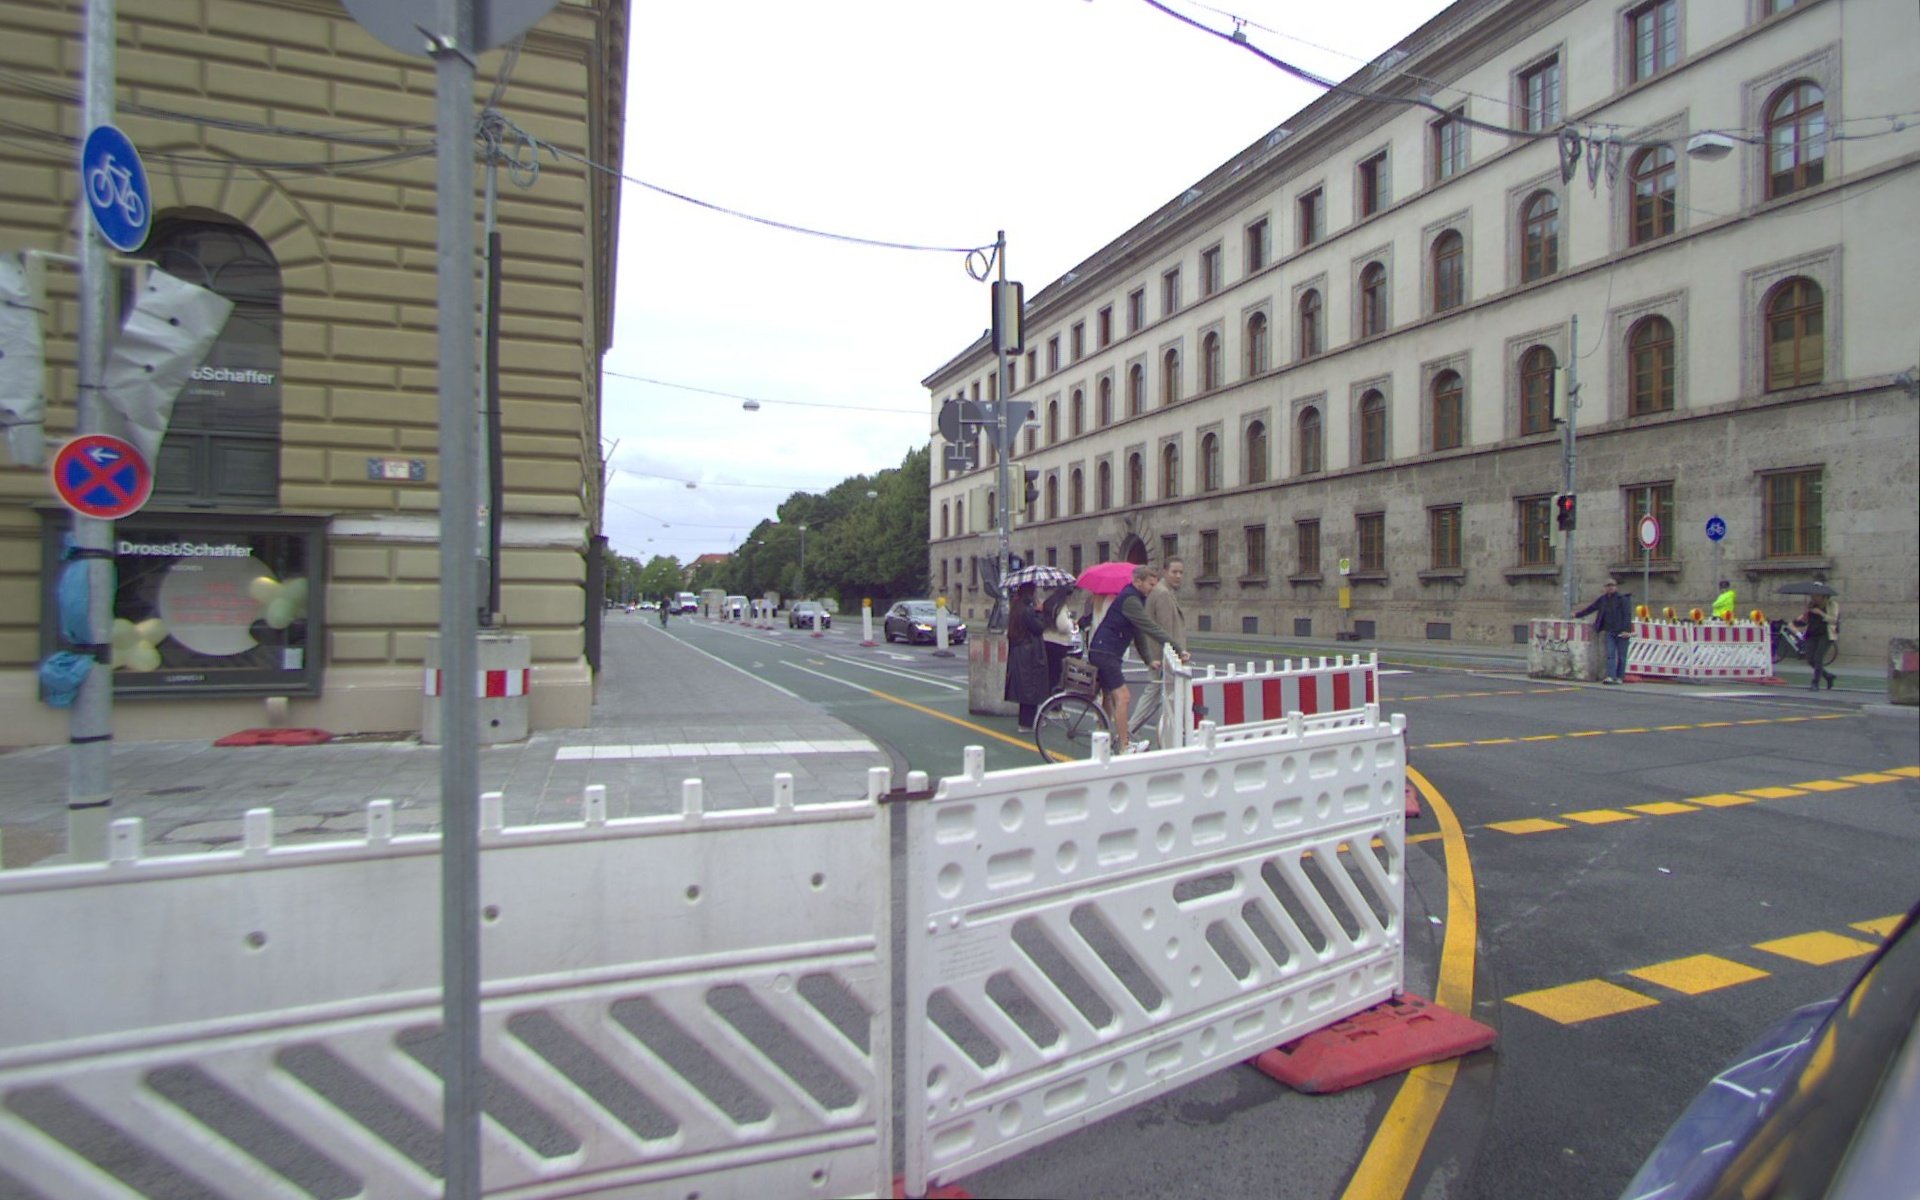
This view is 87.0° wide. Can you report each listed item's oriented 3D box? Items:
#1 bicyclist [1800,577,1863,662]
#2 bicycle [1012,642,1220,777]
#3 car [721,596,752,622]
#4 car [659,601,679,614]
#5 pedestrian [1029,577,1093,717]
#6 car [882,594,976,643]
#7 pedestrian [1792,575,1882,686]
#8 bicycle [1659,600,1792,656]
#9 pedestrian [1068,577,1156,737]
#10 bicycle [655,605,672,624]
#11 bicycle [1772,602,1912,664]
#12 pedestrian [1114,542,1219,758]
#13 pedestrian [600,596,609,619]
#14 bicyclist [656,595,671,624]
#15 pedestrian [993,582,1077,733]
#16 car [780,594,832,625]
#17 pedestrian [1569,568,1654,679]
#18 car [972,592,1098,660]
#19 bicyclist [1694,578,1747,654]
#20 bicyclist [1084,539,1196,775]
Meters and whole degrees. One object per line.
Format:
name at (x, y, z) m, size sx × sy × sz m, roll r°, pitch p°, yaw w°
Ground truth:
bicyclist at (19.012, 0.410, 22.076) m, size 0.784 × 1.798 × 0.690 m, roll -1°, pitch 0°, yaw -16°
bicycle at (1.309, 0.885, 8.537) m, size 1.637 × 1.024 × 0.582 m, roll -1°, pitch 0°, yaw 23°
car at (-18.215, 0.702, 82.323) m, size 1.958 × 2.039 × 4.008 m, roll 0°, pitch 0°, yaw -19°
car at (-30.664, 0.792, 106.539) m, size 1.704 × 1.337 × 4.008 m, roll -1°, pitch 0°, yaw -20°
pedestrian at (1.232, 0.555, 12.380) m, size 0.522 × 1.640 × 0.675 m, roll -1°, pitch 0°, yaw -17°
car at (-1.123, 0.582, 34.006) m, size 1.883 × 1.459 × 4.315 m, roll -2°, pitch 1°, yaw -20°
pedestrian at (14.670, 0.502, 16.947) m, size 0.829 × 1.794 × 0.740 m, roll -1°, pitch 0°, yaw -10°
bicycle at (18.233, 0.640, 24.192) m, size 0.773 × 1.258 × 2.453 m, roll -1°, pitch 0°, yaw -24°
pedestrian at (1.567, 0.568, 10.479) m, size 0.690 × 1.587 × 0.542 m, roll -1°, pitch 0°, yaw -17°
bicycle at (-16.500, 0.800, 56.354) m, size 0.735 × 1.045 × 2.536 m, roll -1°, pitch 0°, yaw -20°
bicycle at (19.055, 0.675, 21.945) m, size 0.773 × 1.258 × 2.203 m, roll -1°, pitch 0°, yaw -15°
pedestrian at (1.901, 0.441, 9.367) m, size 0.690 × 1.908 × 0.642 m, roll -1°, pitch 0°, yaw -15°
pedestrian at (-30.015, 0.609, 85.466) m, size 0.641 × 1.898 × 0.827 m, roll 1°, pitch -1°, yaw -20°
bicyclist at (-16.448, 0.511, 56.211) m, size 0.709 × 1.572 × 0.860 m, roll -1°, pitch 0°, yaw -20°
pedestrian at (0.817, 0.607, 11.172) m, size 0.690 × 1.587 × 0.683 m, roll -1°, pitch 0°, yaw -17°
car at (-8.282, 0.481, 54.090) m, size 1.958 × 1.577 × 4.396 m, roll 0°, pitch 0°, yaw -20°
pedestrian at (10.756, 0.373, 16.728) m, size 0.504 × 1.765 × 1.044 m, roll 0°, pitch -1°, yaw -29°
car at (1.754, 0.594, 24.992) m, size 1.600 × 1.522 × 4.008 m, roll -1°, pitch 0°, yaw -20°
bicyclist at (18.205, 0.381, 24.239) m, size 0.784 × 1.771 × 0.690 m, roll -1°, pitch 0°, yaw -24°
bicyclist at (1.507, 0.457, 8.450) m, size 0.790 × 1.877 × 0.563 m, roll -1°, pitch 0°, yaw 23°
